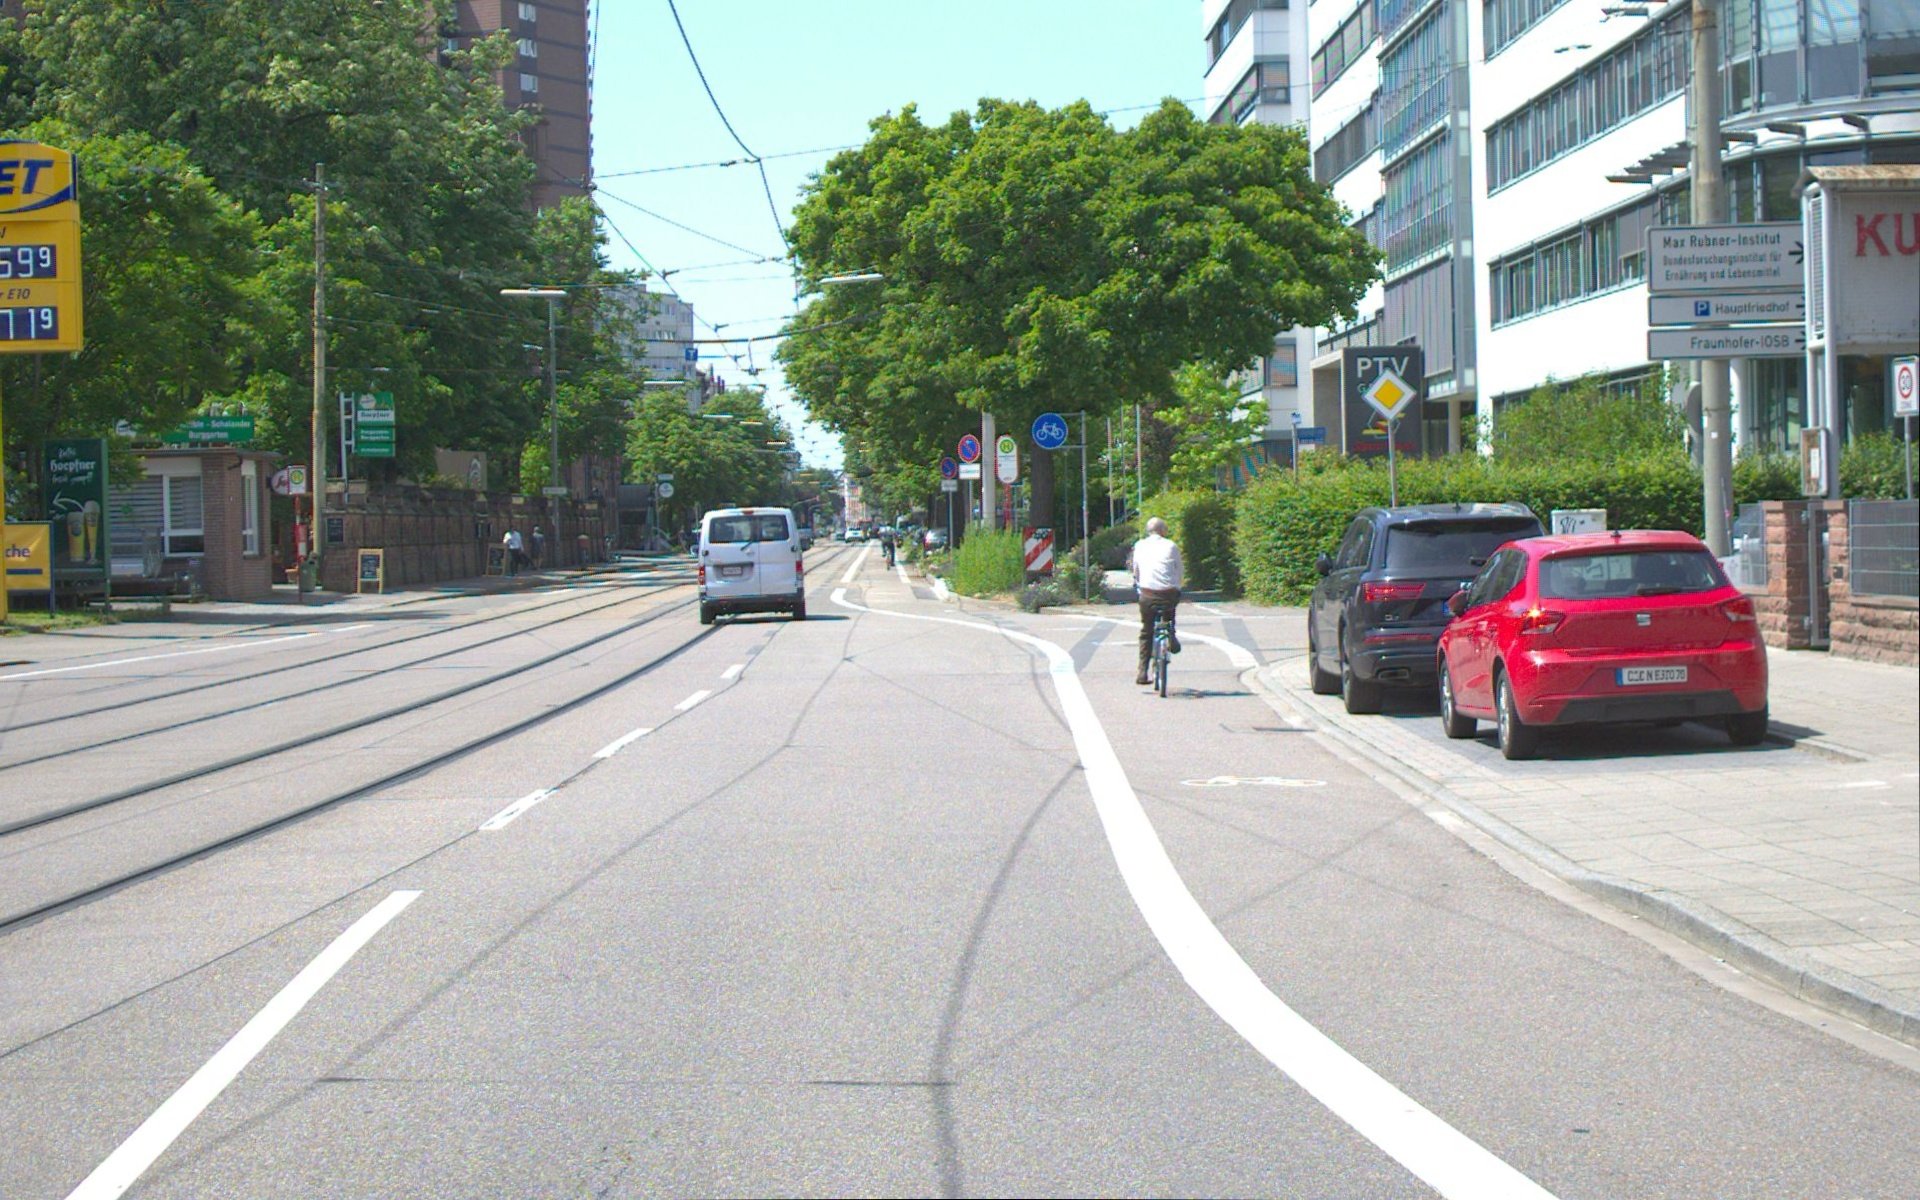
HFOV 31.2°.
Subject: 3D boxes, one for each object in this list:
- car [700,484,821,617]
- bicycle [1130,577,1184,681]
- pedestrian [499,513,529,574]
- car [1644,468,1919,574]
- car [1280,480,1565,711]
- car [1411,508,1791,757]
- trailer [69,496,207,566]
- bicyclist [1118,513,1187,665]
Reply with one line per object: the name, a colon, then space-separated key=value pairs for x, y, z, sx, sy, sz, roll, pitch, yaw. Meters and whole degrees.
car: x=-3.243 y=-0.857 z=56.456 sx=1.752 sy=2.006 sz=4.001 roll=-3 pitch=2 yaw=-1
bicycle: x=1.834 y=0.254 z=32.071 sx=0.466 sy=0.884 sz=2.048 roll=-1 pitch=2 yaw=3
pedestrian: x=-15.244 y=-1.930 z=117.586 sx=0.863 sy=2.007 sz=0.646 roll=-3 pitch=1 yaw=-4
car: x=11.403 y=-1.089 z=46.876 sx=3.799 sy=1.270 sz=1.556 roll=-3 pitch=2 yaw=0
car: x=3.904 y=-0.119 z=29.768 sx=1.863 sy=1.681 sz=5.001 roll=-2 pitch=3 yaw=2
car: x=4.276 y=0.149 z=23.528 sx=1.712 sy=1.447 sz=4.073 roll=-3 pitch=2 yaw=-1
trailer: x=-18.206 y=-1.525 z=76.193 sx=2.727 sy=1.521 sz=1.329 roll=0 pitch=1 yaw=0
bicyclist: x=1.798 y=-0.111 z=32.055 sx=0.591 sy=1.392 sz=0.841 roll=-1 pitch=2 yaw=6
